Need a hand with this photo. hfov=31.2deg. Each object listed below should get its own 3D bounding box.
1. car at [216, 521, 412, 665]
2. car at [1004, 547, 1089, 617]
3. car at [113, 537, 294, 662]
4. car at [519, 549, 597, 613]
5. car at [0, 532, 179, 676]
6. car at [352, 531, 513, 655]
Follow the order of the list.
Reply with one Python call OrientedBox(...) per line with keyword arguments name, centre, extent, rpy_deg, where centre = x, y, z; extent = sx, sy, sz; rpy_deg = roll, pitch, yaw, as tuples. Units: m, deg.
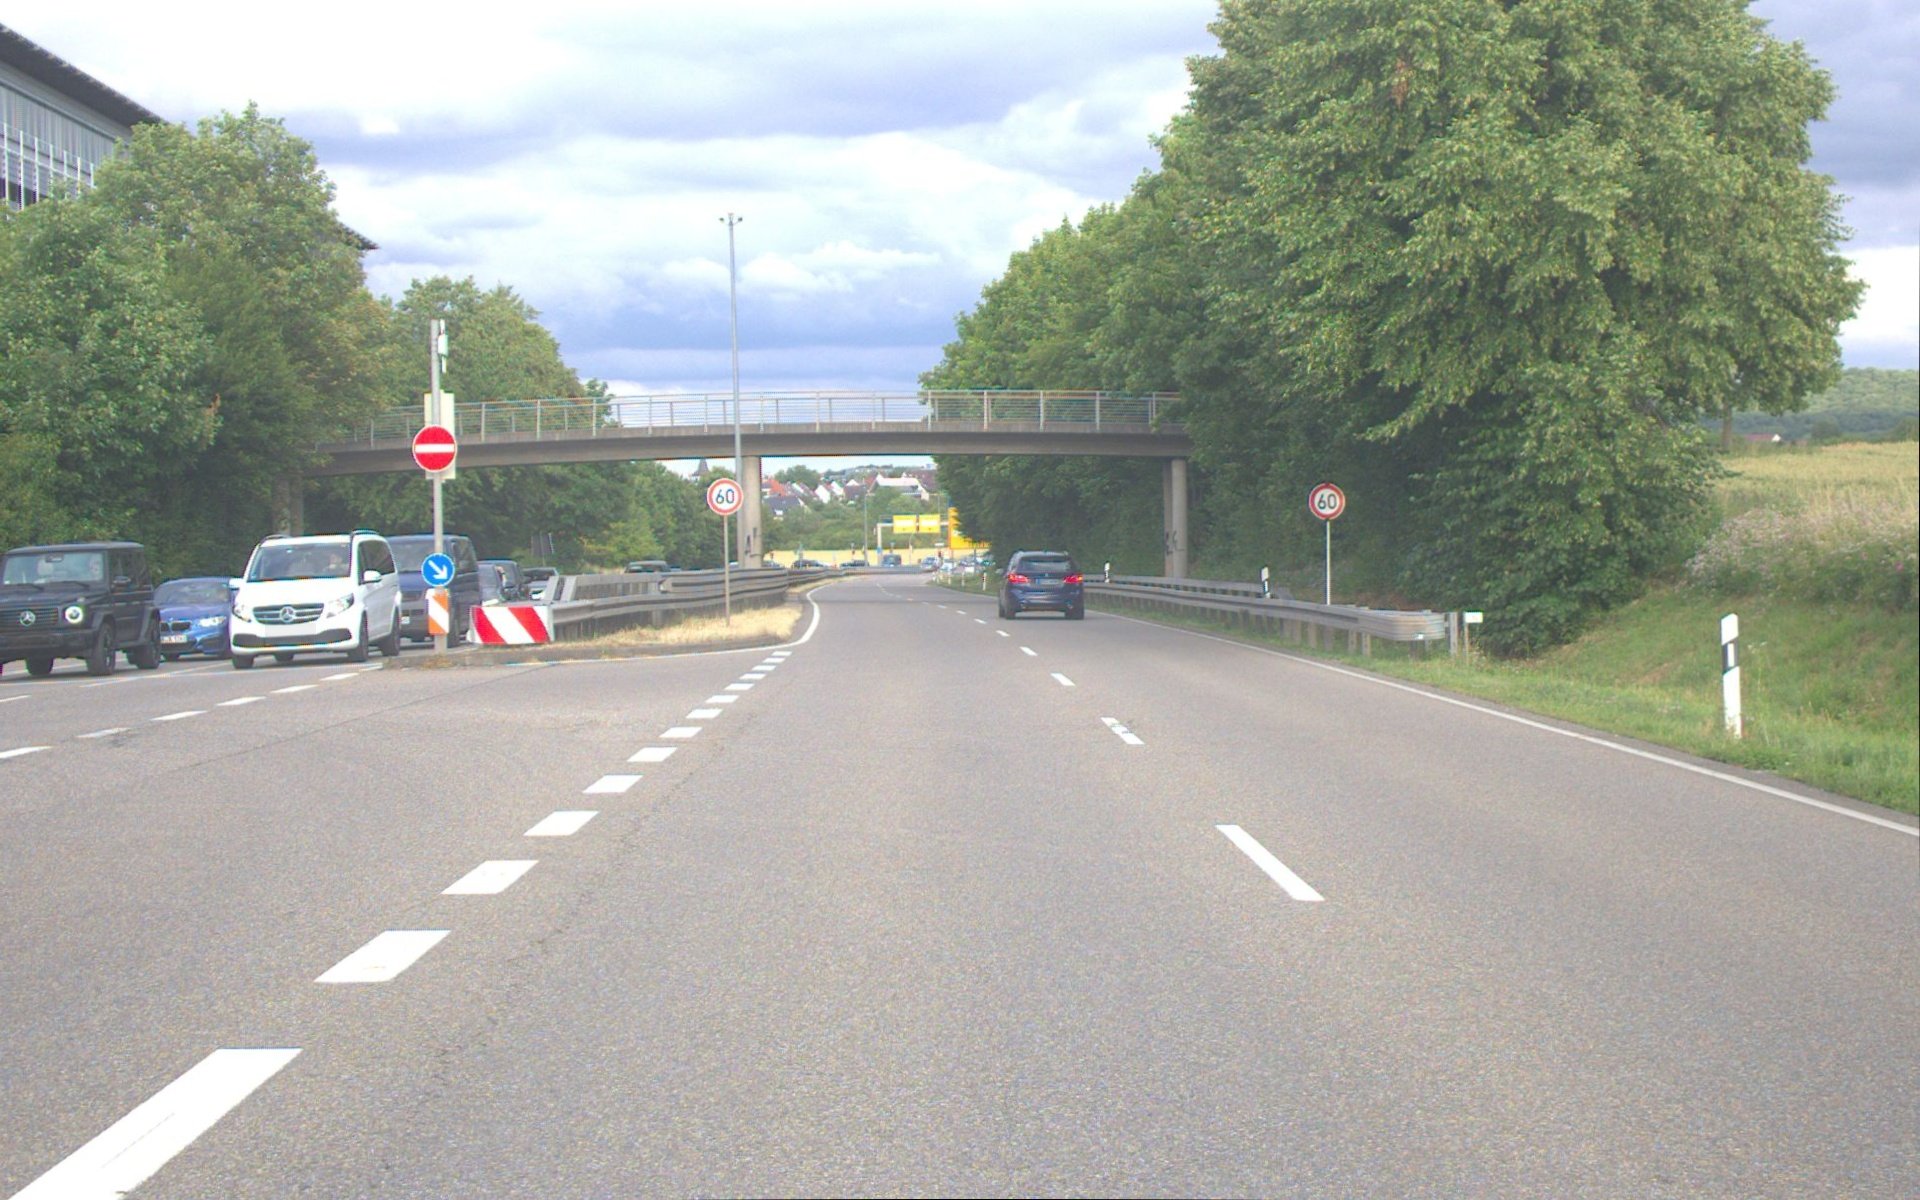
OrientedBox(name="car", centre=(-9.562, -0.121, 51.270), extent=(2.083, 2.007, 5.217), rpy_deg=(1, 0, -2))
OrientedBox(name="car", centre=(1.970, -0.419, 79.208), extent=(1.879, 1.547, 4.000), rpy_deg=(1, 0, 1))
OrientedBox(name="car", centre=(-12.836, -0.033, 58.657), extent=(2.083, 2.007, 5.217), rpy_deg=(1, 0, -2))
OrientedBox(name="car", centre=(-13.204, -0.641, 113.181), extent=(2.083, 2.007, 5.217), rpy_deg=(1, 0, -2))
OrientedBox(name="car", centre=(-13.196, 0.029, 51.156), extent=(2.083, 2.007, 5.217), rpy_deg=(1, 0, -2))
OrientedBox(name="car", centre=(-8.993, -0.140, 59.007), extent=(2.083, 2.007, 5.217), rpy_deg=(1, 0, -2))
